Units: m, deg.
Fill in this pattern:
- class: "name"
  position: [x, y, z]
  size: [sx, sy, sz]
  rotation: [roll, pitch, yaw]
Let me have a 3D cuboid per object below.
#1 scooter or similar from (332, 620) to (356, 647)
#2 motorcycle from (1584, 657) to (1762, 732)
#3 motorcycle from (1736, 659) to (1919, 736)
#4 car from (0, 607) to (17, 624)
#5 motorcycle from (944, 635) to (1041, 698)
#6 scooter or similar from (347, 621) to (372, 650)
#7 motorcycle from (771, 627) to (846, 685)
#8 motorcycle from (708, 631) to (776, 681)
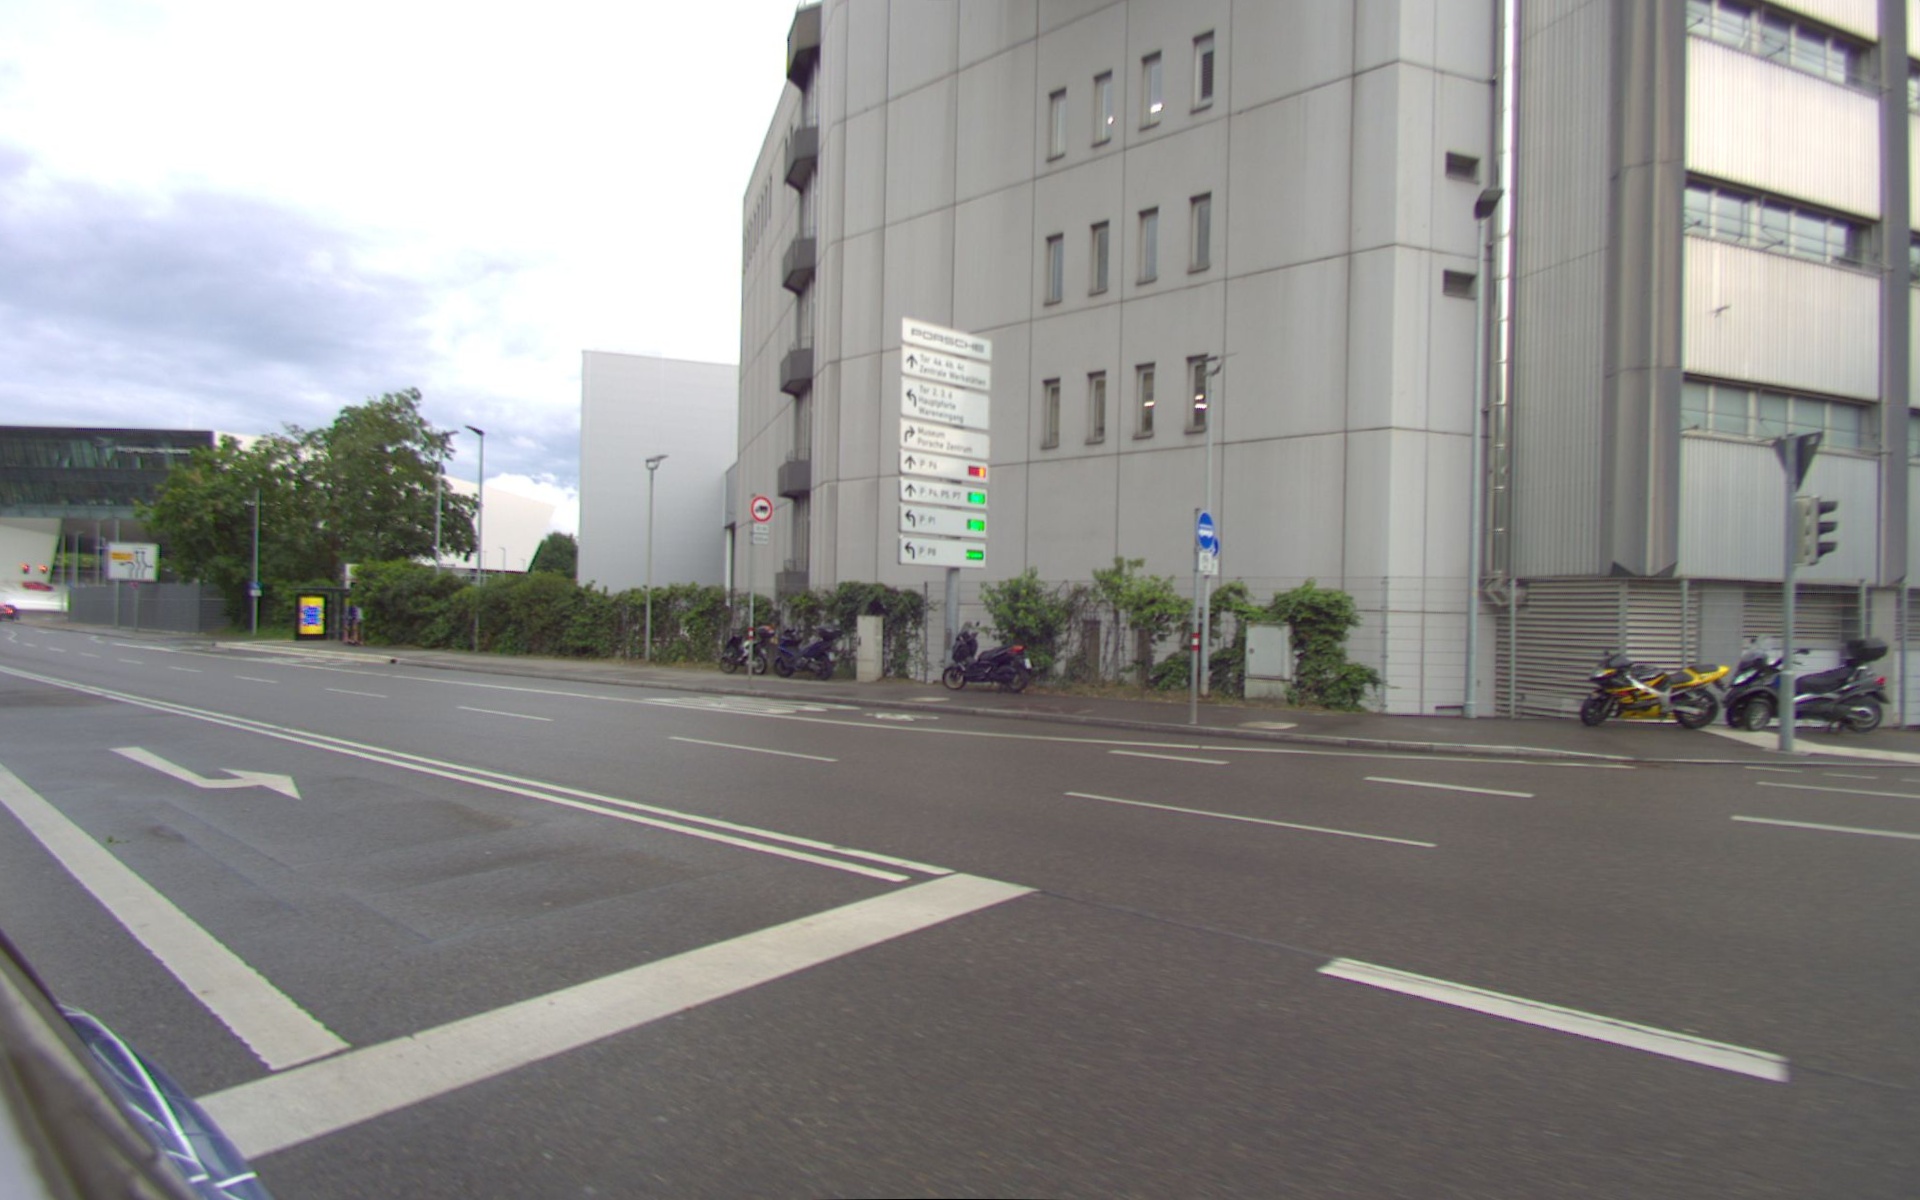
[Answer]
- class: "scooter or similar"
  position: [-26.114, 1.423, 42.903]
  size: [1.568, 1.138, 0.389]
  rotation: [-1, -3, 41]
- class: "motorcycle"
  position: [10.699, 1.410, 15.248]
  size: [2.144, 1.035, 0.625]
  rotation: [1, -2, 6]
- class: "motorcycle"
  position: [12.845, 1.415, 14.902]
  size: [2.149, 1.035, 0.624]
  rotation: [1, -2, 14]
- class: "car"
  position: [-95.038, 1.551, 100.417]
  size: [4.484, 1.602, 1.752]
  rotation: [-1, -3, 42]
- class: "motorcycle"
  position: [0.635, 1.324, 20.502]
  size: [2.037, 1.171, 0.562]
  rotation: [0, -3, 39]
- class: "scooter or similar"
  position: [-24.826, 1.463, 41.814]
  size: [1.568, 1.138, 0.389]
  rotation: [-1, -3, 41]
- class: "motorcycle"
  position: [-3.614, 1.298, 23.979]
  size: [0.617, 1.277, 2.172]
  rotation: [0, -1, -44]
- class: "motorcycle"
  position: [-5.550, 1.407, 25.735]
  size: [1.967, 1.224, 0.618]
  rotation: [-1, -3, 41]
